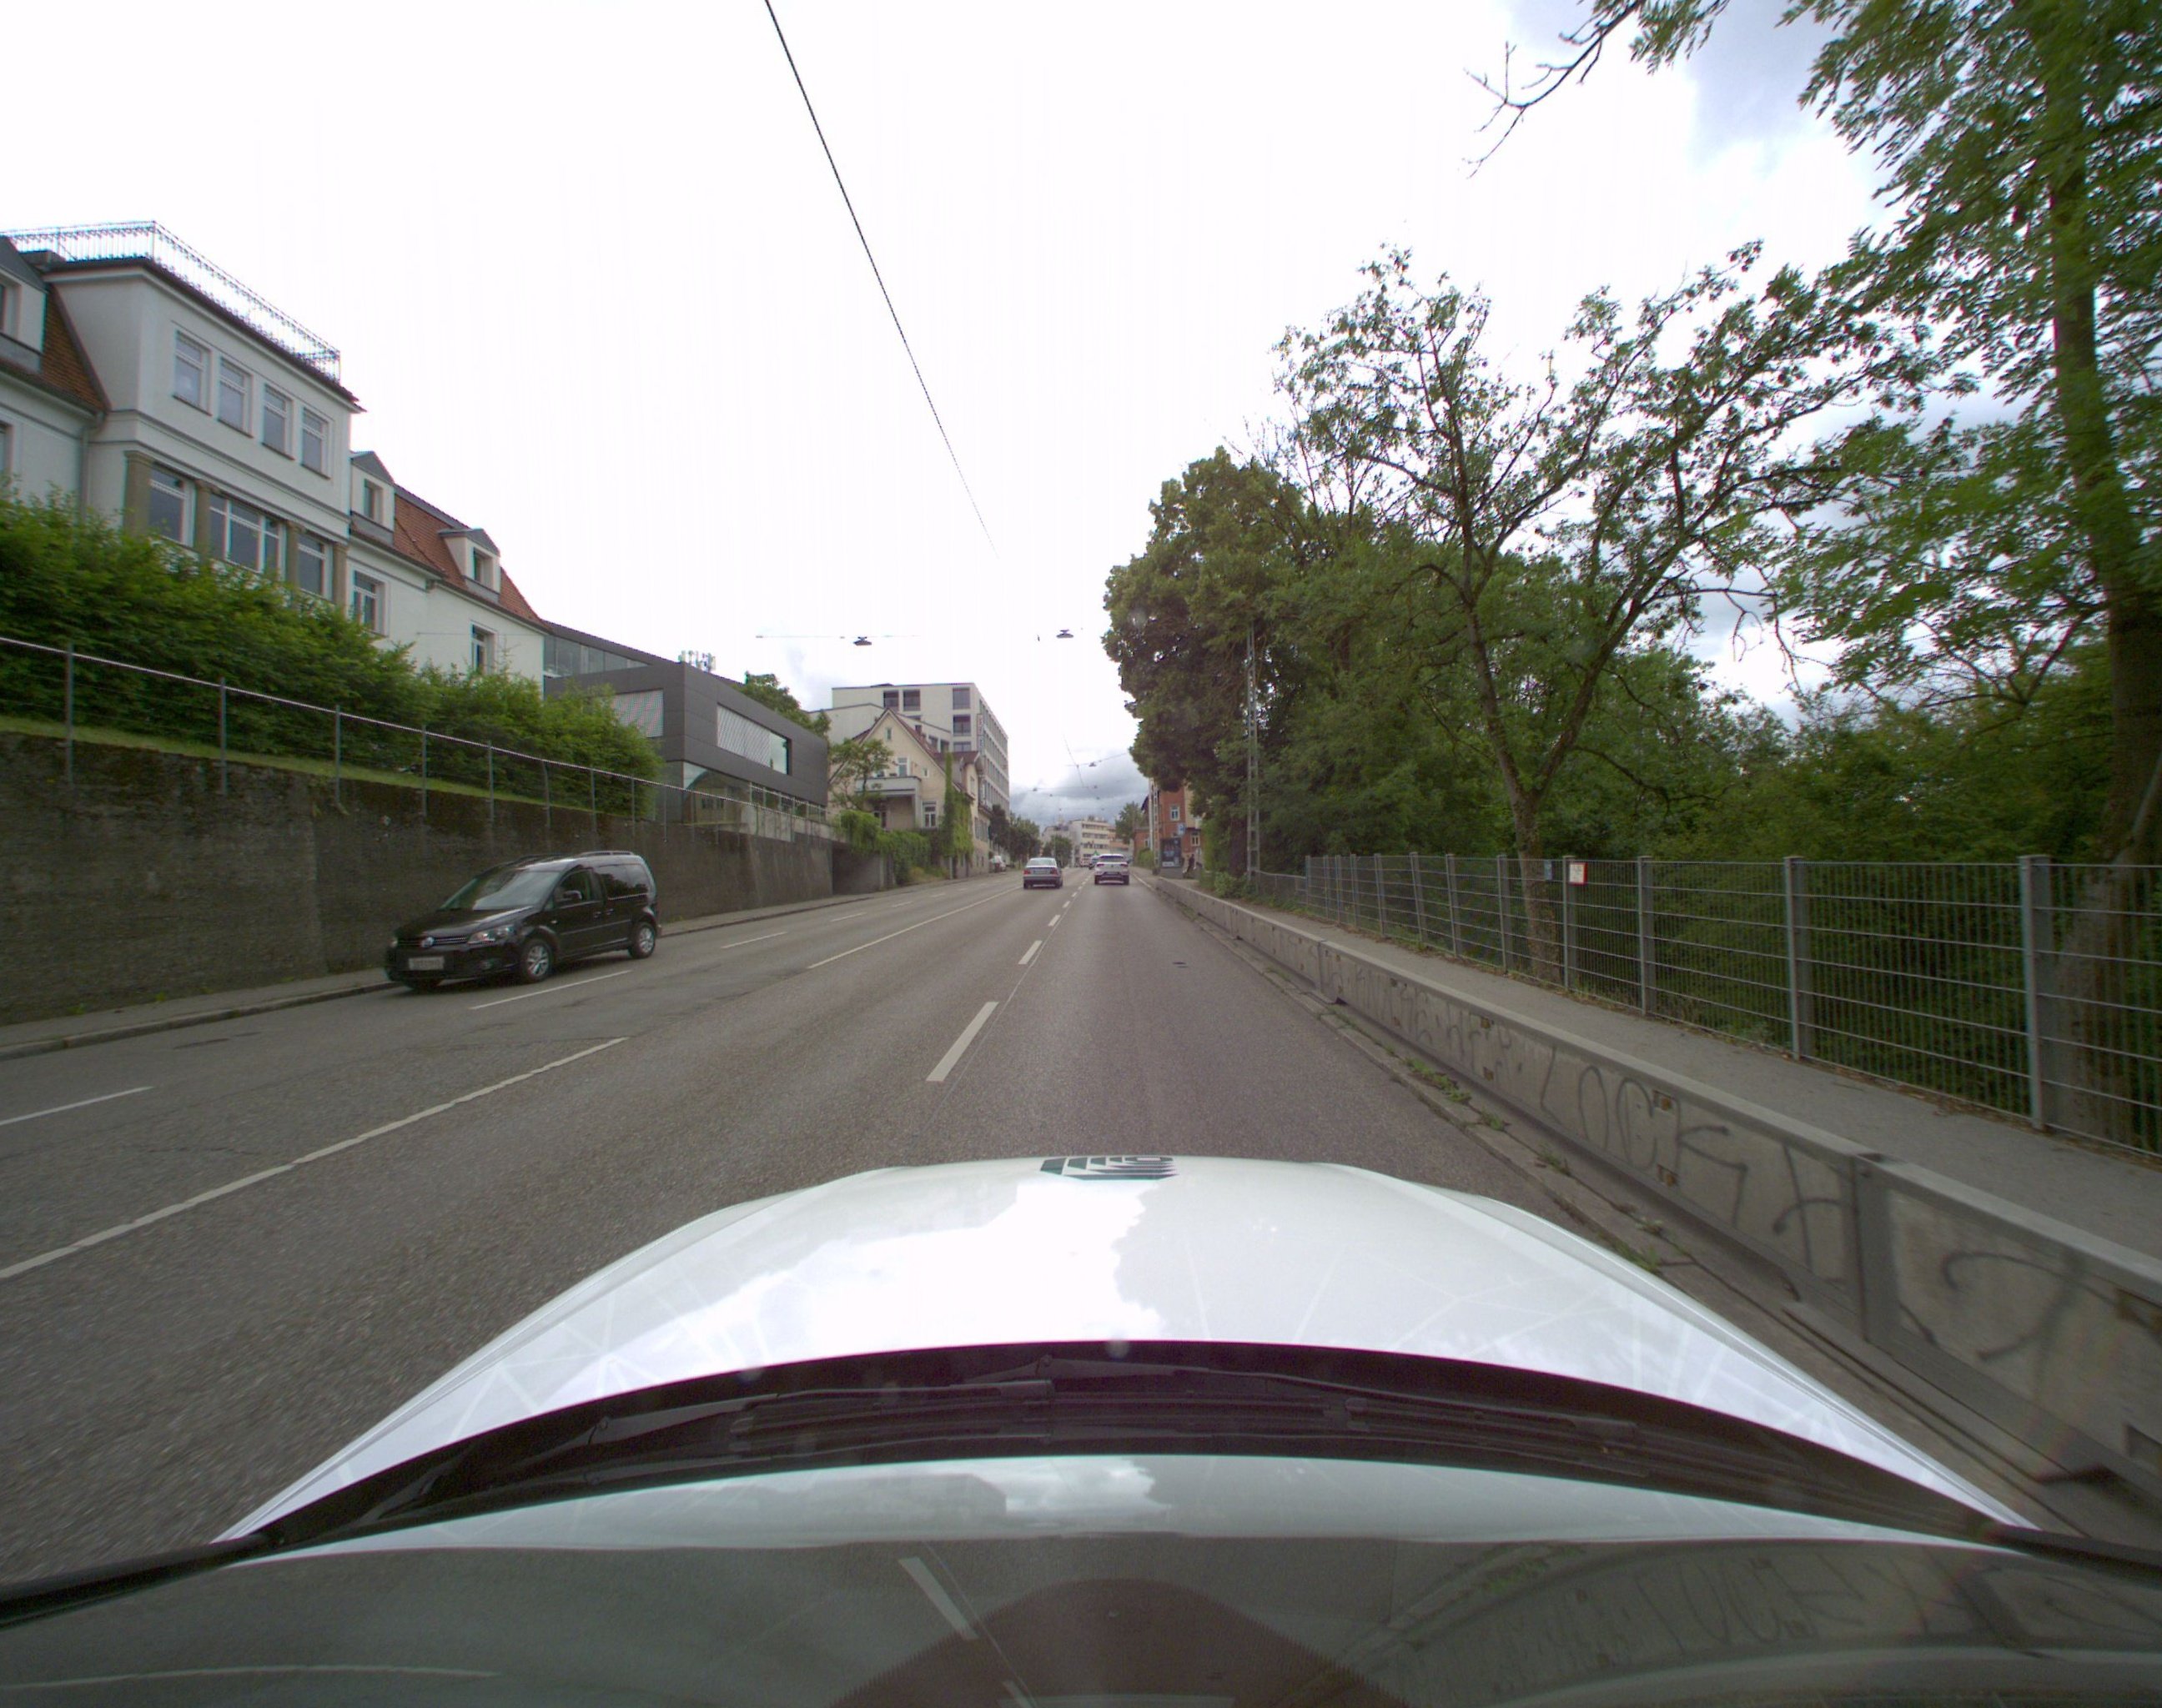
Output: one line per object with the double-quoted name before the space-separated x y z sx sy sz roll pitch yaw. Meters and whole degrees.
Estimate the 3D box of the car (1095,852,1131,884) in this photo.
"car" 1.609 0.688 42.339 1.774 1.579 4.000 0 0 1

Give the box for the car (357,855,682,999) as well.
"car" -8.366 0.945 12.782 1.810 1.784 4.497 -3 0 2

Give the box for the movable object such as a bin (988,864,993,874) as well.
"movable object such as a bin" -9.220 1.525 82.873 0.424 0.965 0.359 0 -2 -1

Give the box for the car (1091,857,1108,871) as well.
"car" 1.995 1.049 87.026 1.700 1.464 4.002 -2 0 2

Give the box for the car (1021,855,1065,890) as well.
"car" -1.695 0.795 37.439 1.700 1.464 4.002 -2 0 2

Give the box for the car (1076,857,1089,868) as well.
"car" 0.283 1.162 115.634 1.700 1.464 4.002 -2 0 2

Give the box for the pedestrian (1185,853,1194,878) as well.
"pedestrian" 7.530 0.812 56.276 0.508 1.717 0.465 -2 0 0

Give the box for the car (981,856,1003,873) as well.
"car" -9.295 1.086 85.567 1.988 1.701 3.997 -2 0 -2
